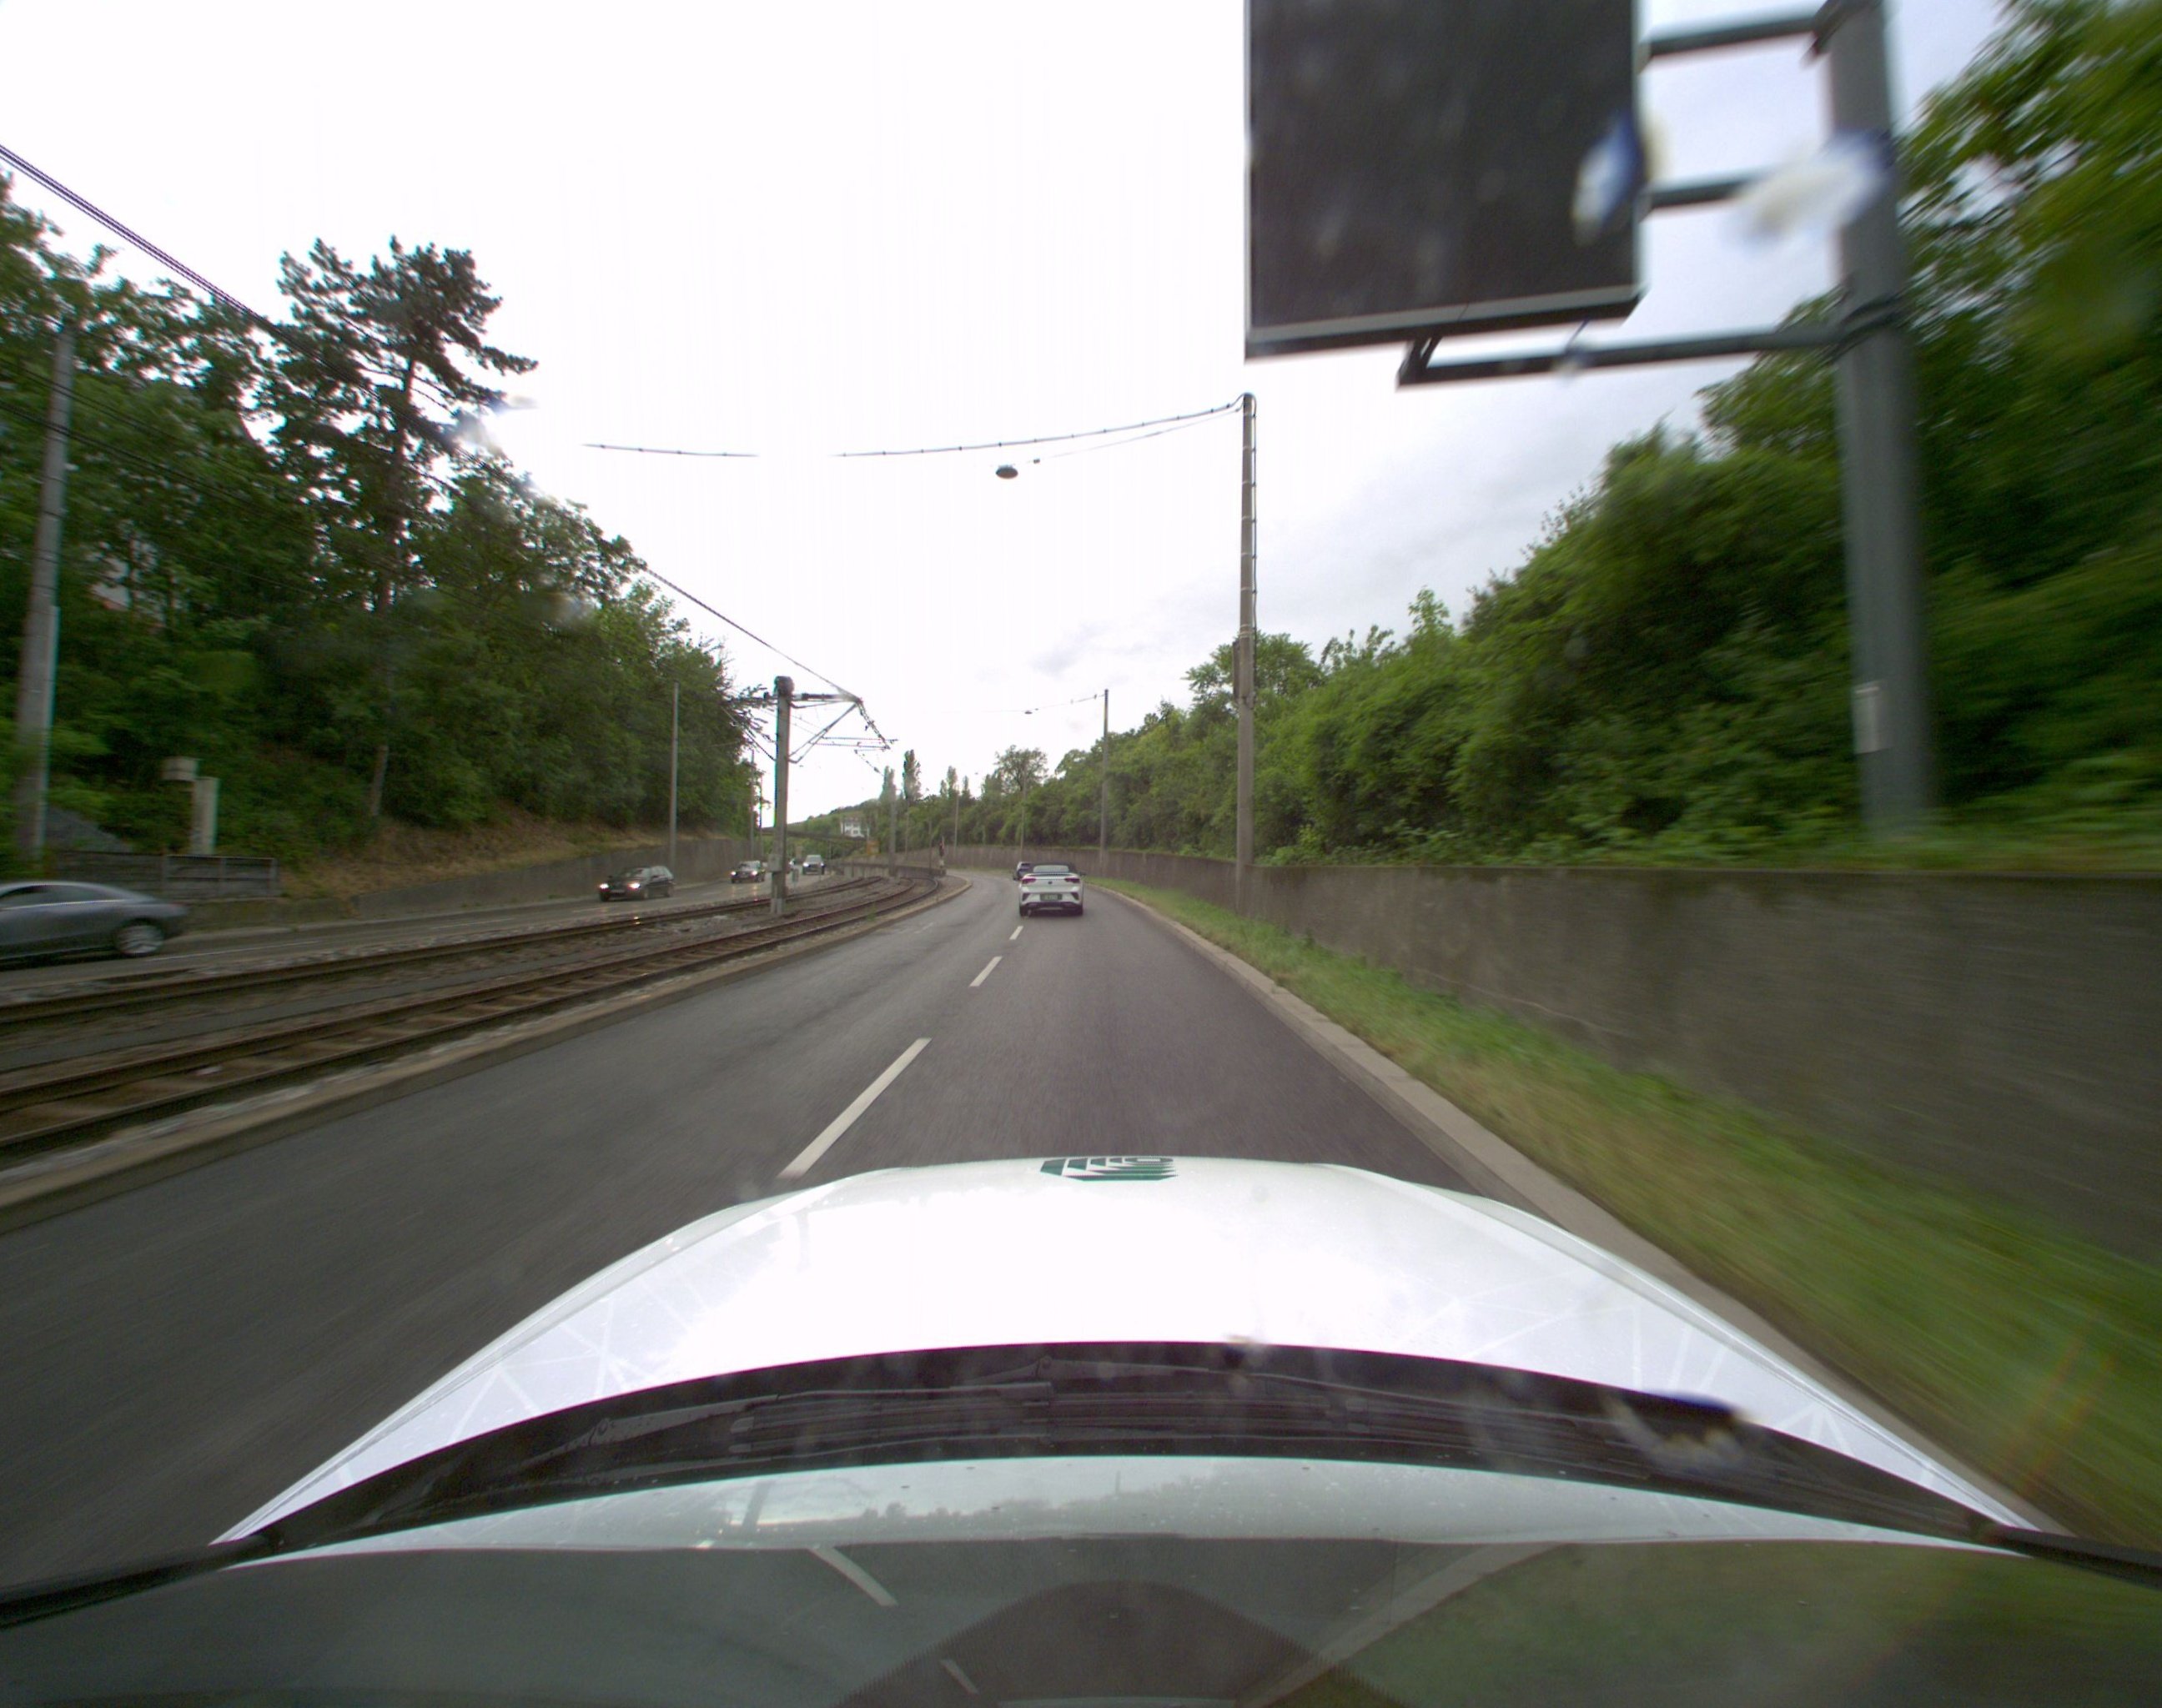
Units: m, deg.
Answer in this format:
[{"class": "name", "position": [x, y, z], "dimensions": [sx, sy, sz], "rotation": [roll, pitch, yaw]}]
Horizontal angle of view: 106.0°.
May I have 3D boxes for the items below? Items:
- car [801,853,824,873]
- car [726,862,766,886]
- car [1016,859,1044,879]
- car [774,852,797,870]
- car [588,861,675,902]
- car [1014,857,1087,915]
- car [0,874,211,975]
[{"class": "car", "position": [-25.594, 0.805, 77.417], "dimensions": [1.934, 1.787, 4.421], "rotation": [-1, 0, -20]}, {"class": "car", "position": [-23.087, 1.349, 56.229], "dimensions": [1.931, 1.415, 4.428], "rotation": [-2, 0, -15]}, {"class": "car", "position": [-4.015, 1.162, 63.268], "dimensions": [1.764, 1.501, 3.986], "rotation": [0, 0, -10]}, {"class": "car", "position": [-33.312, 0.811, 91.928], "dimensions": [1.996, 2.014, 3.982], "rotation": [0, 0, -13]}, {"class": "car", "position": [-18.617, 1.082, 33.956], "dimensions": [1.745, 1.516, 4.560], "rotation": [-2, 0, -10]}, {"class": "car", "position": [-0.794, 0.879, 24.103], "dimensions": [1.865, 1.524, 4.541], "rotation": [-1, -1, 1]}, {"class": "car", "position": [-17.257, 1.122, 12.916], "dimensions": [1.810, 1.462, 4.661], "rotation": [-2, 0, 1]}]
